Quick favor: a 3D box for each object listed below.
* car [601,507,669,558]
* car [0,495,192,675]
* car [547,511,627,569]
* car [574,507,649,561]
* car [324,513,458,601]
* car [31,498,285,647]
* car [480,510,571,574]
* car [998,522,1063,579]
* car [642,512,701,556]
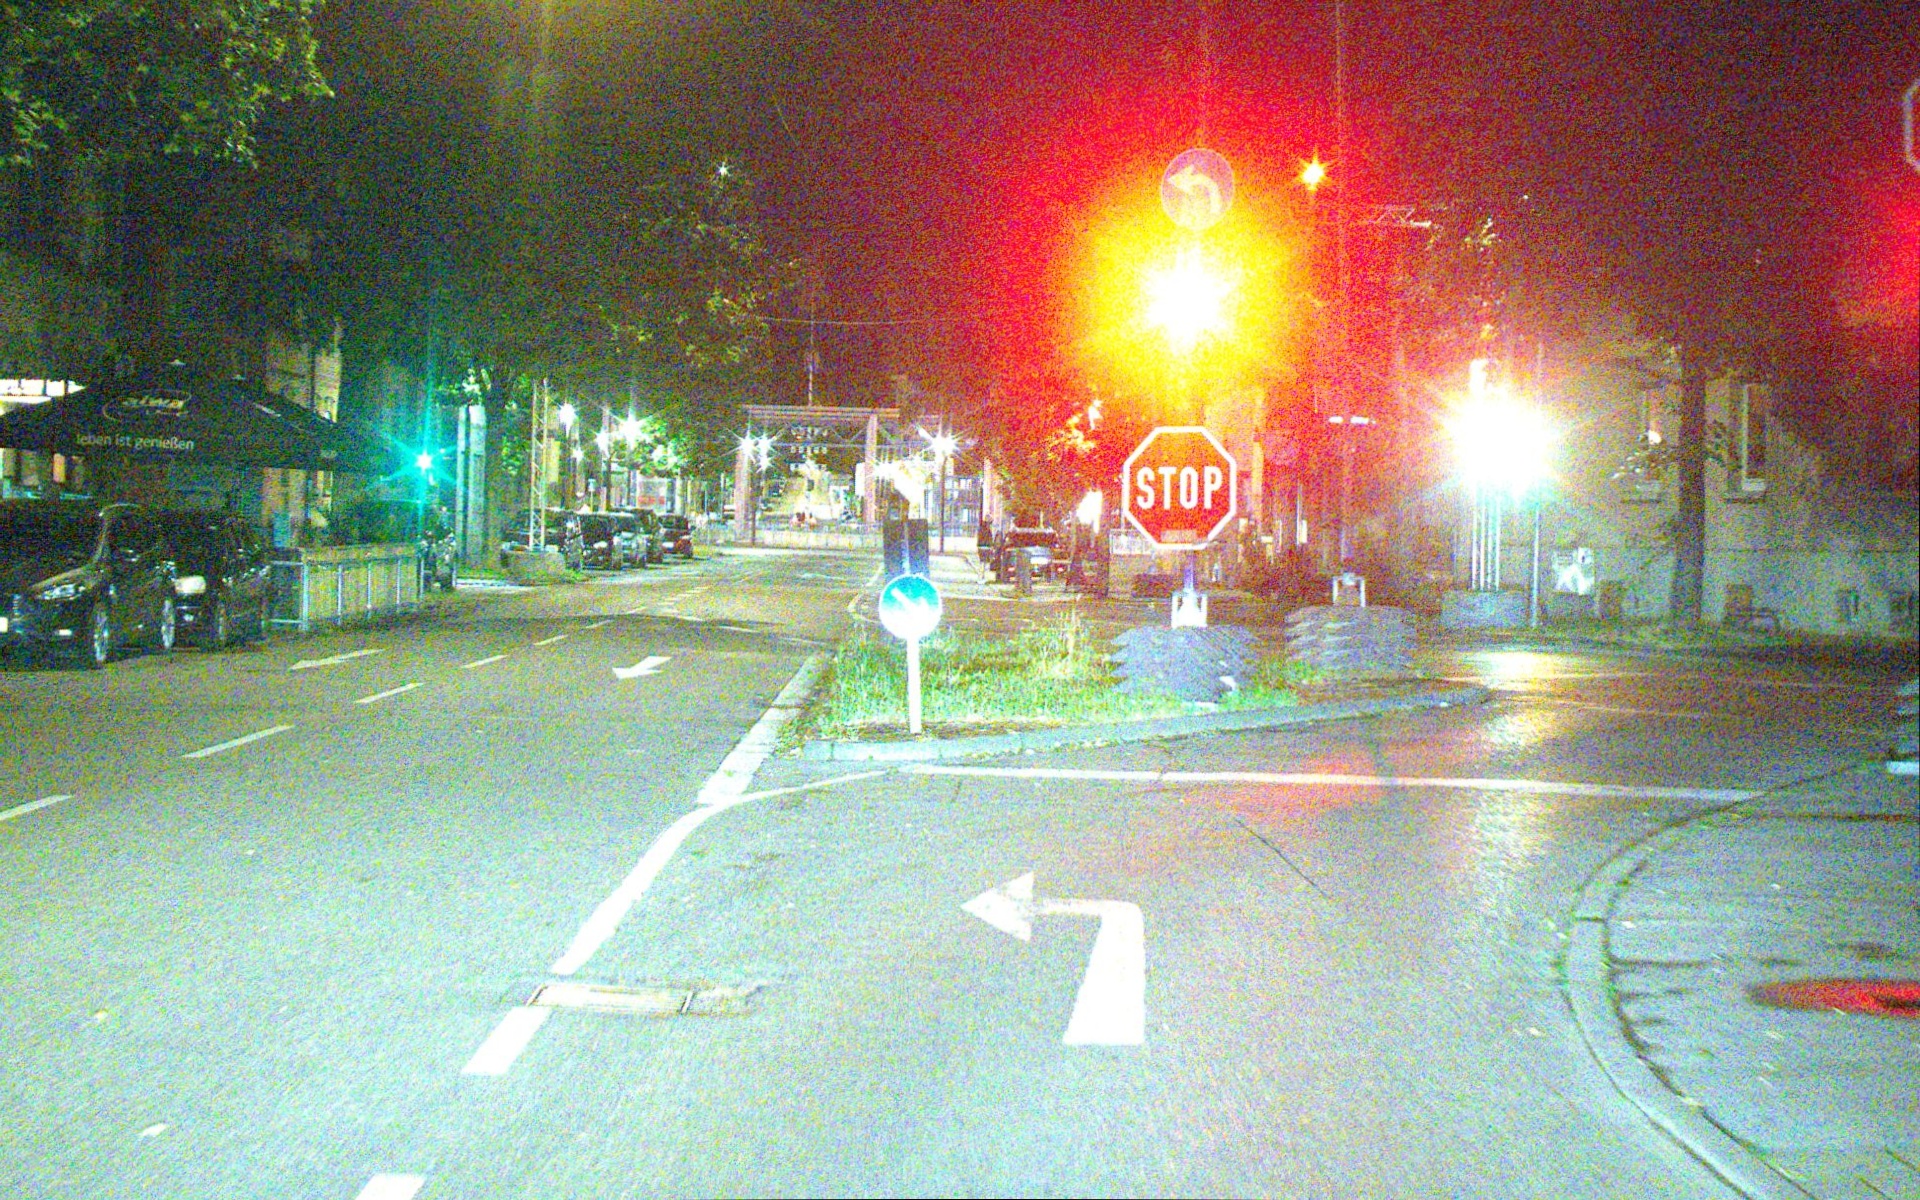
[{"bbox_3d":[-9.486,-1.986,100.585,1.651,1.426,4.000,1,1,-1],"label":"car"},{"bbox_3d":[-8.613,-0.200,32.019,1.899,1.466,4.452,3,2,-1],"label":"car"},{"bbox_3d":[-9.484,-1.549,87.692,1.651,1.426,4.000,1,1,-1],"label":"car"},{"bbox_3d":[-9.478,-1.800,93.700,1.651,1.426,4.000,1,1,-1],"label":"car"},{"bbox_3d":[-9.615,-0.758,58.376,1.651,1.426,4.000,1,1,-1],"label":"car"},{"bbox_3d":[-8.553,-0.317,37.014,1.803,1.476,4.323,1,1,-1],"label":"car"},{"bbox_3d":[-10.017,-1.361,79.454,1.651,1.426,4.000,1,1,-1],"label":"car"},{"bbox_3d":[1.836,-1.318,90.101,1.651,1.426,4.000,1,1,1],"label":"car"},{"bbox_3d":[-9.571,-2.200,114.321,1.651,1.426,4.000,1,1,-1],"label":"car"}]
